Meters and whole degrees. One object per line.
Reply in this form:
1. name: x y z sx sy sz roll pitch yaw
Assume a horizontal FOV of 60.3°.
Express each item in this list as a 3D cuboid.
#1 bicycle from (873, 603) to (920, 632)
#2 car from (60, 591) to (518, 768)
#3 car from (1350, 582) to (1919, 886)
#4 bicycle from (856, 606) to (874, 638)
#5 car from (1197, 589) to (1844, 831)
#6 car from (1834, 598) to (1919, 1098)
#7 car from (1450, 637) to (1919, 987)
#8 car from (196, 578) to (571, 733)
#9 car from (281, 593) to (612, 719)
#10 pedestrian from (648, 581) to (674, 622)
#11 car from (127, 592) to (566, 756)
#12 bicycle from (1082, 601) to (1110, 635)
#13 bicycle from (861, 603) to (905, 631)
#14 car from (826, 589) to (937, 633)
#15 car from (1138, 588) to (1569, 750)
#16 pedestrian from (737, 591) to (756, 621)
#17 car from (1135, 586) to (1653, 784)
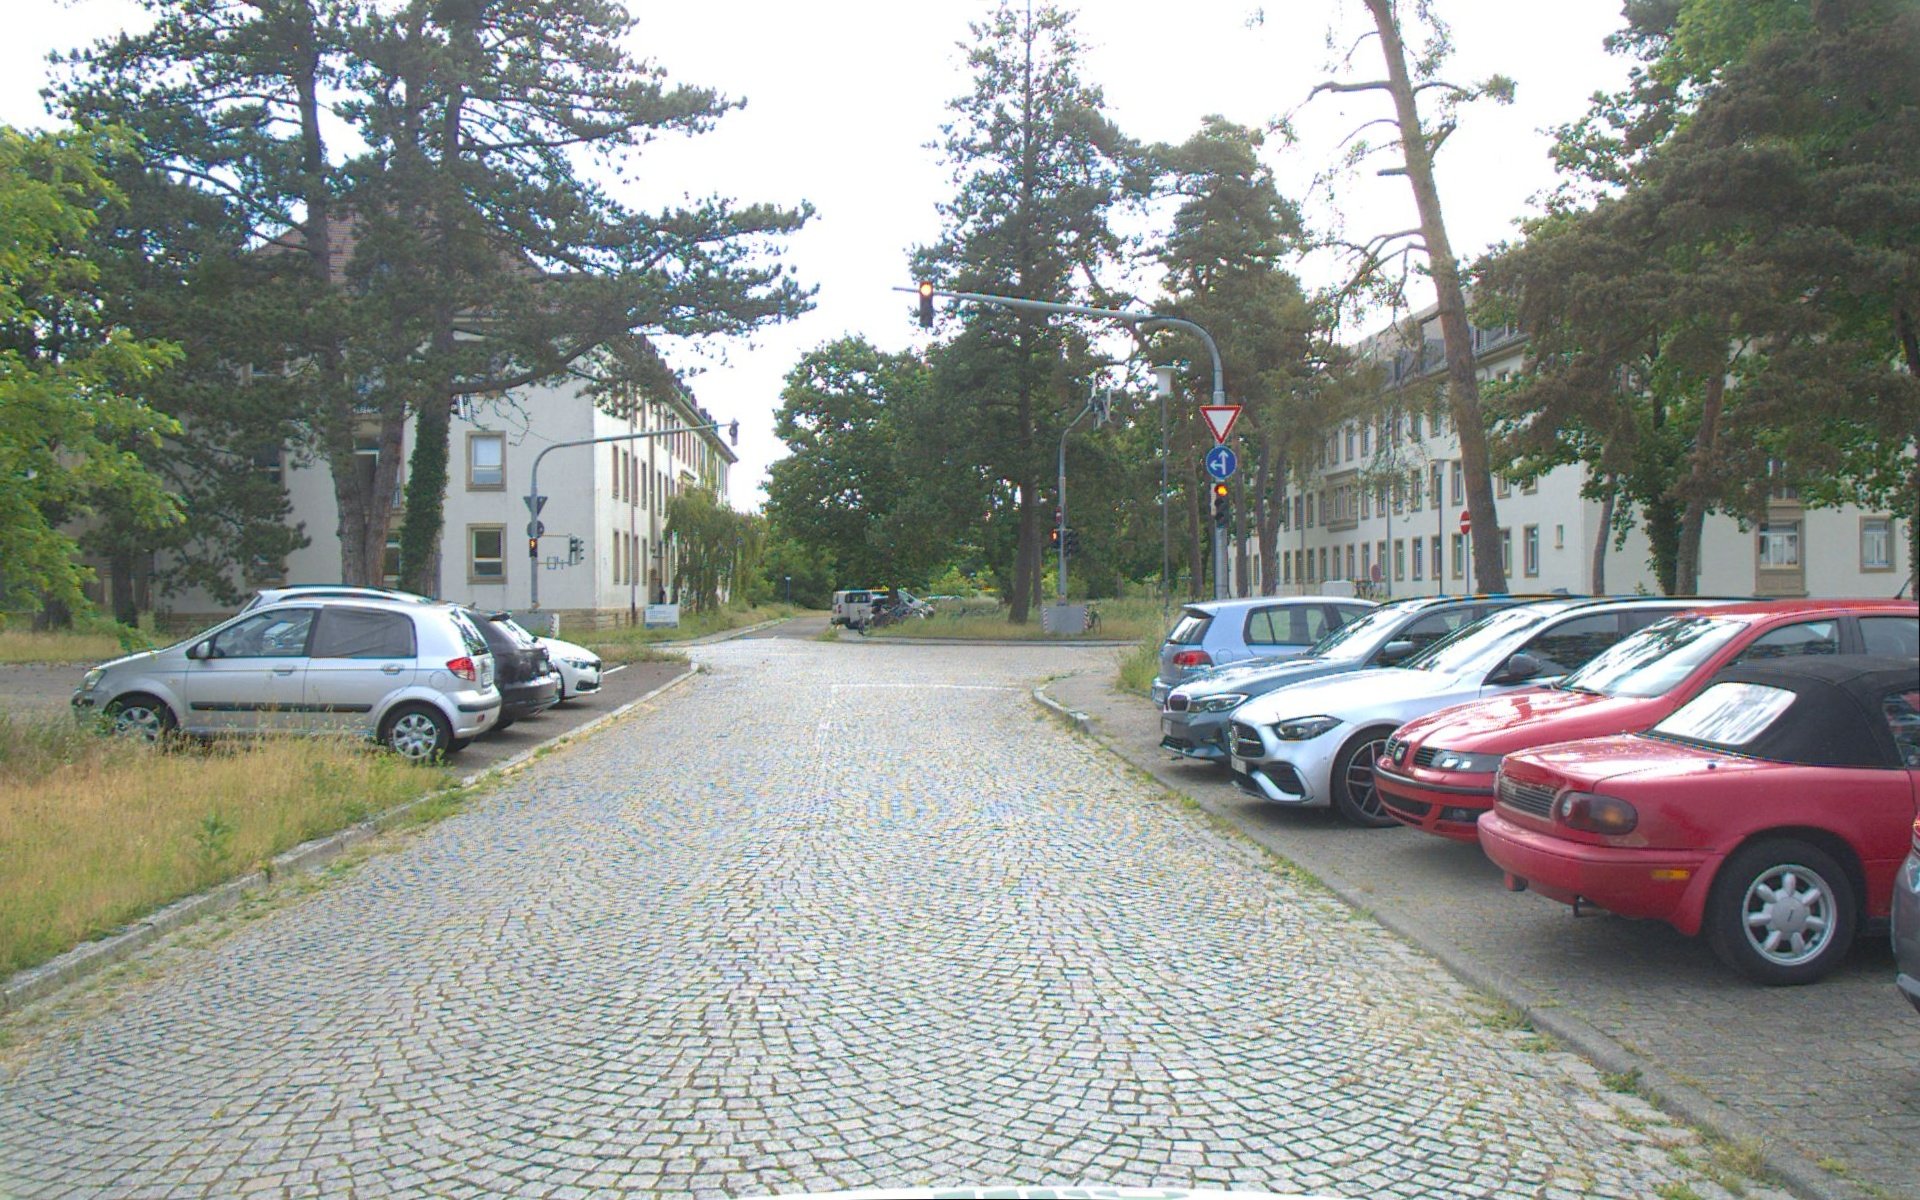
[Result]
1. bicycle: -2.652 0.734 69.049 1.847 1.191 0.663 1 -1 -9
2. car: -6.217 0.725 15.674 3.649 1.506 1.671 2 0 -7
3. car: 4.515 0.682 9.645 4.025 1.502 1.683 -1 0 -6
4. bicycle: -3.700 0.845 64.336 0.649 1.191 1.886 1 0 -3
5. car: 3.968 0.710 11.973 4.110 1.462 1.750 -1 0 -11
6. car: 4.646 0.714 4.678 3.436 1.513 1.742 -1 0 -4
7. car: 4.169 0.823 7.275 3.515 1.244 1.628 -1 0 -3
8. car: -7.198 0.665 21.017 4.218 1.762 1.649 -1 0 -9
9. car: -7.163 0.749 23.478 4.219 1.581 1.808 -1 0 -10
10. pedestrian: -14.591 0.071 80.763 1.053 1.993 1.120 1 -1 -4
11. car: -6.601 0.760 18.248 4.219 1.581 1.808 -1 0 -10
12. bicycle: 4.439 0.581 54.241 0.649 1.069 1.886 1 0 -3
13. bicycle: -3.361 0.738 72.503 1.847 1.191 0.663 1 -1 -9
14. car: -3.983 0.542 83.787 5.289 2.138 2.169 -1 0 -16
15. car: 4.057 0.669 17.308 4.059 1.489 1.630 -1 0 -9
16. pedestrian: -14.562 0.399 112.716 1.216 1.993 1.119 1 -1 -9
17. car: 3.817 0.681 14.735 4.158 1.505 1.703 -2 0 -15
